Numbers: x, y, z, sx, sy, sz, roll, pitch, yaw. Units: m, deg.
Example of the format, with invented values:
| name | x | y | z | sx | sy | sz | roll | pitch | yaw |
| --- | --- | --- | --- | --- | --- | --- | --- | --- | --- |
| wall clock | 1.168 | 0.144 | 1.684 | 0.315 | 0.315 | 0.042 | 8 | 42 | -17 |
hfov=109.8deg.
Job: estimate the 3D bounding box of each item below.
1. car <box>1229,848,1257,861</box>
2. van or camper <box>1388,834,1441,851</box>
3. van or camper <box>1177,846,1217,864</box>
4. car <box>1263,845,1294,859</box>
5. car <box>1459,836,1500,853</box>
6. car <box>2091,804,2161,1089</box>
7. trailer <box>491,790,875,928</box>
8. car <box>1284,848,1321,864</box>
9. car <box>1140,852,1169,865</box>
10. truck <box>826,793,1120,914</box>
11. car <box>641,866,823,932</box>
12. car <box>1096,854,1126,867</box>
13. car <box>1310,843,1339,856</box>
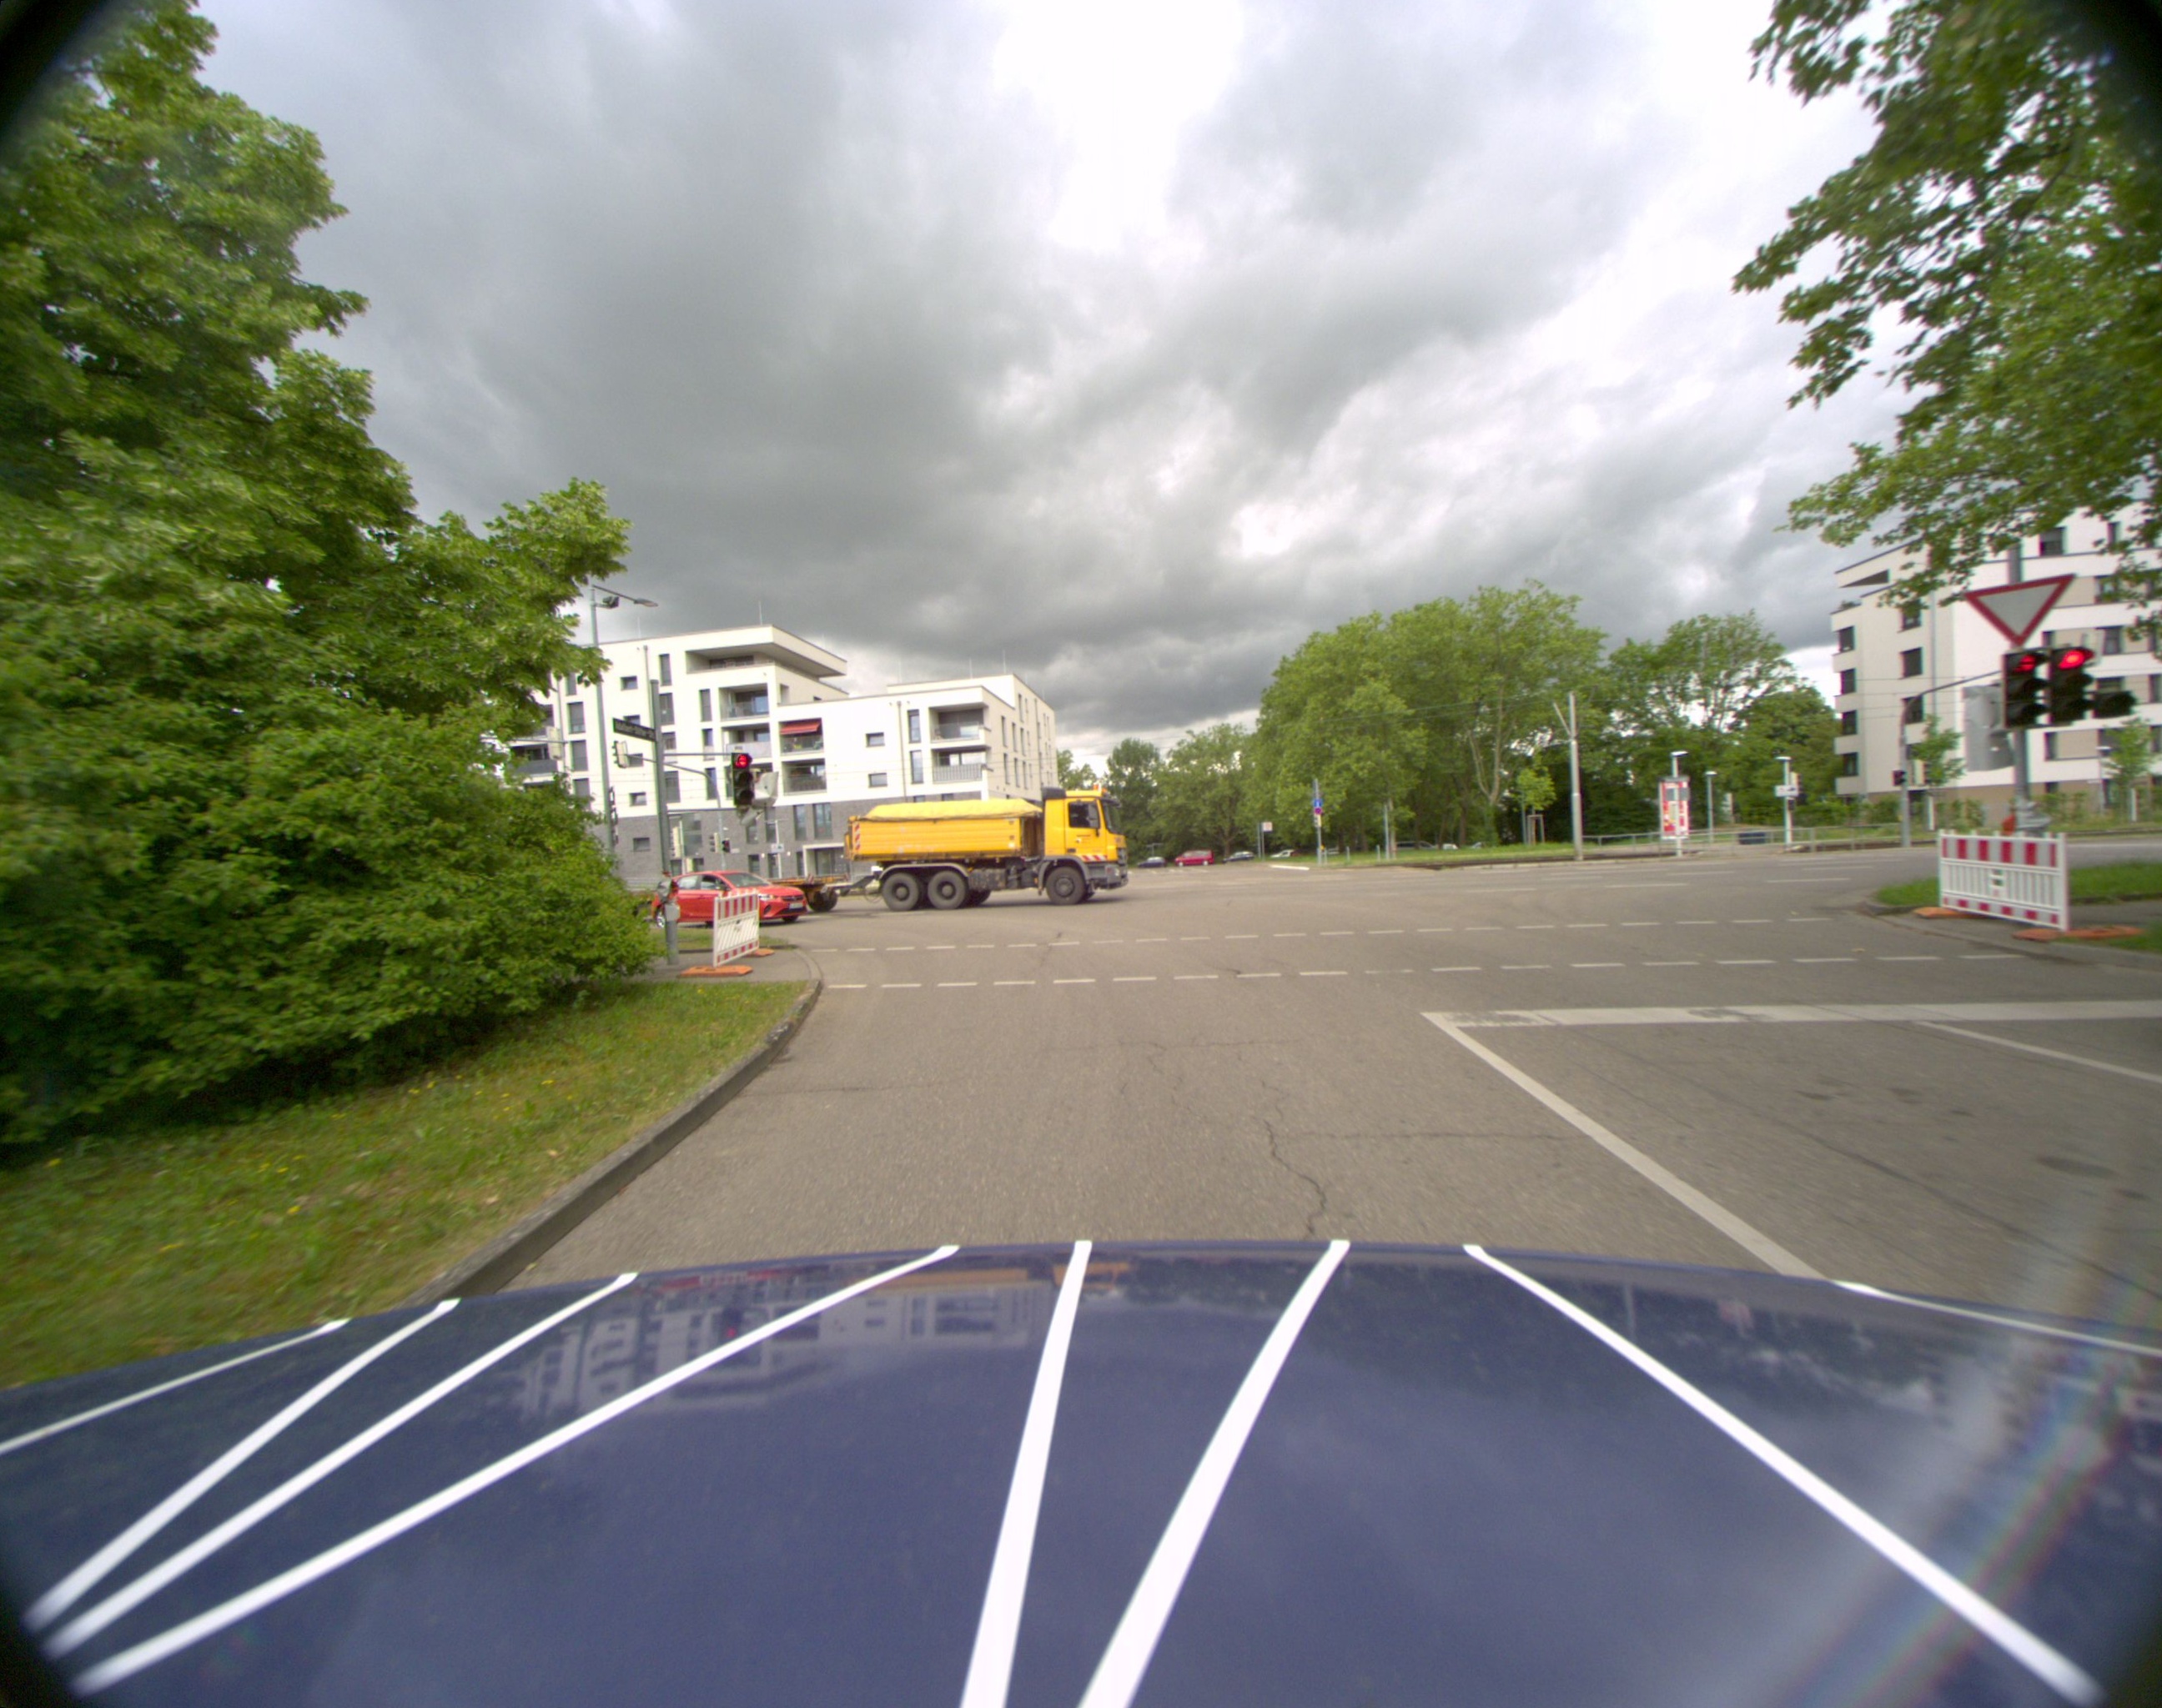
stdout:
| name | x | y | z | sx | sy | sz | roll | pitch | yaw |
| --- | --- | --- | --- | --- | --- | --- | --- | --- | --- |
| car | 19.757 | 0.048 | 92.765 | 3.134 | 1.493 | 1.606 | -3 | 0 | 15 |
| van or camper | 36.848 | -1.281 | 84.097 | 5.000 | 1.524 | 1.865 | -3 | 0 | 9 |
| van or camper | 14.386 | 0.108 | 94.162 | 4.552 | 2.013 | 2.050 | -3 | 0 | 15 |
| car | 23.982 | -0.252 | 92.239 | 3.590 | 1.528 | 1.875 | -3 | 0 | 15 |
| car | 46.260 | -1.114 | 88.187 | 3.805 | 1.639 | 1.701 | -4 | 1 | 5 |
| car | 6.564 | 0.515 | 2.199 | 1.770 | 1.577 | 4.414 | -2 | 1 | 8 |
| trailer | -12.176 | 0.207 | 23.456 | 10.898 | 3.501 | 2.717 | -3 | 1 | 10 |
| car | 24.863 | 0.257 | 85.339 | 3.780 | 1.652 | 1.666 | -2 | 1 | 9 |
| car | 9.221 | 0.590 | 95.333 | 3.264 | 1.493 | 1.606 | -3 | 0 | 15 |
| truck | -2.974 | 0.018 | 21.849 | 7.767 | 2.986 | 2.730 | -2 | 1 | 10 |
| car | -8.844 | 1.138 | 19.302 | 3.992 | 1.471 | 1.695 | -2 | 1 | 16 |
| car | 3.799 | 0.840 | 96.502 | 3.538 | 1.490 | 1.648 | -3 | 0 | 9 |
| car | 29.121 | -0.515 | 90.998 | 3.134 | 1.336 | 1.449 | -3 | 0 | 15 |
